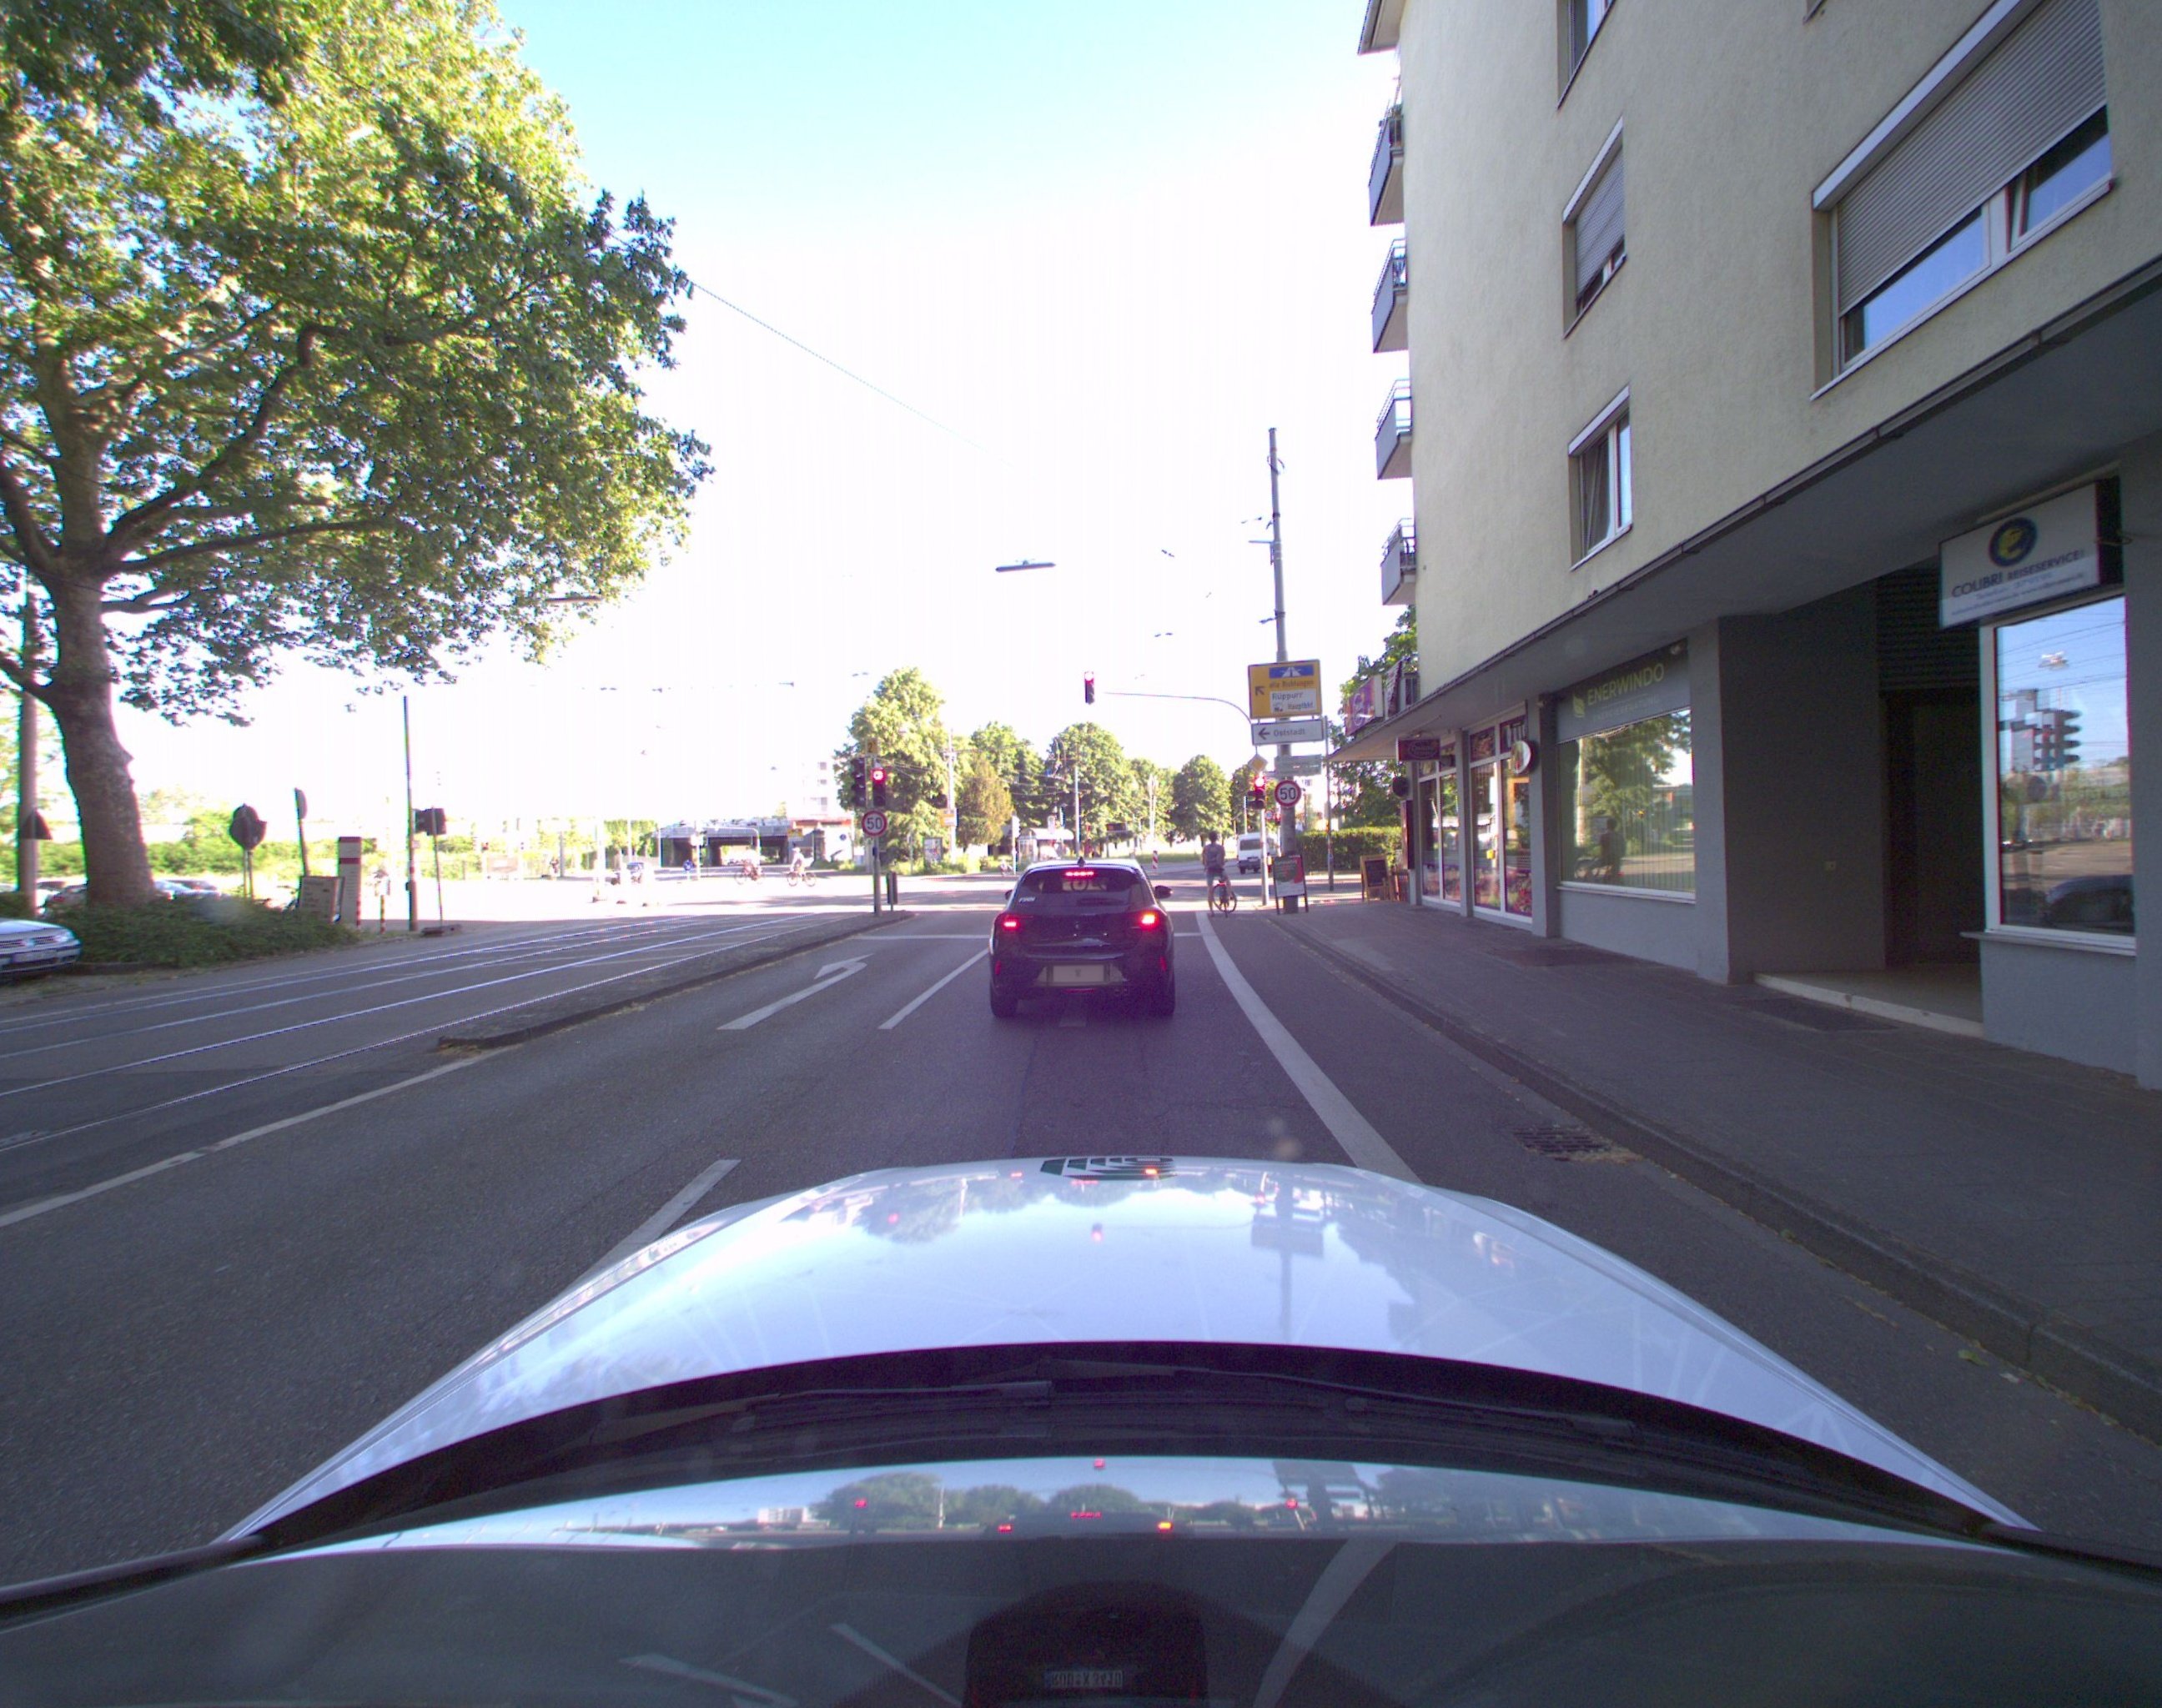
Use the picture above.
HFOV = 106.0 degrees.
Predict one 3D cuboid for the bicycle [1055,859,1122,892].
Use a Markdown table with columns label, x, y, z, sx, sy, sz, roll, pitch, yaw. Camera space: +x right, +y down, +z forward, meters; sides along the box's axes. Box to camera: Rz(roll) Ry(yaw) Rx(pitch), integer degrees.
| label | x | y | z | sx | sy | sz | roll | pitch | yaw |
| --- | --- | --- | --- | --- | --- | --- | --- | --- | --- |
| bicycle | 0.264 | 0.741 | 28.669 | 2.199 | 1.033 | 0.828 | -2 | 0 | -21 |

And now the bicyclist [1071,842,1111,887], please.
| label | x | y | z | sx | sy | sz | roll | pitch | yaw |
| --- | --- | --- | --- | --- | --- | --- | --- | --- | --- |
| bicyclist | 0.359 | 0.376 | 28.698 | 1.117 | 1.520 | 0.915 | -2 | 0 | -21 |

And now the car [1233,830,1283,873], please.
| label | x | y | z | sx | sy | sz | roll | pitch | yaw |
| --- | --- | --- | --- | --- | --- | --- | --- | --- | --- |
| car | 10.151 | -0.158 | 46.386 | 2.046 | 2.248 | 4.912 | -2 | 0 | 20 |

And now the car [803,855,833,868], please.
| label | x | y | z | sx | sy | sz | roll | pitch | yaw |
| --- | --- | --- | --- | --- | --- | --- | --- | --- | --- |
| car | -38.305 | 1.099 | 118.634 | 4.188 | 1.805 | 1.725 | -2 | 0 | -19 |

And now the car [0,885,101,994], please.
| label | x | y | z | sx | sy | sz | roll | pitch | yaw |
| --- | --- | --- | --- | --- | --- | --- | --- | --- | --- |
| car | -16.952 | 1.202 | 11.365 | 4.497 | 1.429 | 1.676 | 0 | 0 | 0 |

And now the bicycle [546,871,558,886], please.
| label | x | y | z | sx | sy | sz | roll | pitch | yaw |
| --- | --- | --- | --- | --- | --- | --- | --- | --- | --- |
| bicycle | -38.414 | 1.751 | 59.167 | 0.585 | 1.060 | 2.022 | -2 | 0 | -30 |

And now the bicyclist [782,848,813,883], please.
| label | x | y | z | sx | sy | sz | roll | pitch | yaw |
| --- | --- | --- | --- | --- | --- | --- | --- | --- | --- |
| bicyclist | -13.138 | 0.533 | 37.751 | 1.003 | 1.570 | 0.802 | -2 | 0 | 13 |

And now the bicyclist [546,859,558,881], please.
| label | x | y | z | sx | sy | sz | roll | pitch | yaw |
| --- | --- | --- | --- | --- | --- | --- | --- | --- | --- |
| bicyclist | -38.429 | 1.188 | 59.192 | 0.639 | 1.563 | 0.825 | -2 | 0 | -31 |

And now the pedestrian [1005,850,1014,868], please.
| label | x | y | z | sx | sy | sz | roll | pitch | yaw |
| --- | --- | --- | --- | --- | --- | --- | --- | --- | --- |
| pedestrian | -6.335 | 0.425 | 72.191 | 0.746 | 1.630 | 0.599 | 0 | -1 | 8 |

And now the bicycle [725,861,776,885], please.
| label | x | y | z | sx | sy | sz | roll | pitch | yaw |
| --- | --- | --- | --- | --- | --- | --- | --- | --- | --- |
| bicycle | -16.624 | 0.949 | 40.944 | 2.276 | 1.084 | 0.804 | -2 | 0 | 14 |

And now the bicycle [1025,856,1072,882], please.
| label | x | y | z | sx | sy | sz | roll | pitch | yaw |
| --- | --- | --- | --- | --- | --- | --- | --- | --- | --- |
| bicycle | -1.488 | 0.677 | 36.948 | 2.036 | 1.094 | 0.596 | -2 | 0 | 23 |

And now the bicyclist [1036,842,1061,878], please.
| label | x | y | z | sx | sy | sz | roll | pitch | yaw |
| --- | --- | --- | --- | --- | --- | --- | --- | --- | --- |
| bicyclist | -1.473 | 0.260 | 36.892 | 0.853 | 1.595 | 0.653 | -2 | 0 | 23 |

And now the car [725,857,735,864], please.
| label | x | y | z | sx | sy | sz | roll | pitch | yaw |
| --- | --- | --- | --- | --- | --- | --- | --- | --- | --- |
| car | -87.213 | 1.610 | 202.556 | 2.223 | 1.823 | 4.114 | -2 | 0 | -24 |

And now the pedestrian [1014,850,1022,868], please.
| label | x | y | z | sx | sy | sz | roll | pitch | yaw |
| --- | --- | --- | --- | --- | --- | --- | --- | --- | --- |
| pedestrian | -5.579 | 0.431 | 72.294 | 0.633 | 1.630 | 0.573 | 0 | -1 | 9 |

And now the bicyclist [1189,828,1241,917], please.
| label | x | y | z | sx | sy | sz | roll | pitch | yaw |
| --- | --- | --- | --- | --- | --- | --- | --- | --- | --- |
| bicyclist | 2.910 | 0.387 | 17.776 | 0.938 | 1.851 | 0.864 | -2 | 0 | 1 |

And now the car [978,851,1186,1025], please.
| label | x | y | z | sx | sy | sz | roll | pitch | yaw |
| --- | --- | --- | --- | --- | --- | --- | --- | --- | --- |
| car | 0.080 | 0.699 | 8.900 | 1.720 | 1.429 | 4.189 | -1 | 0 | 2 |

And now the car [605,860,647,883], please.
| label | x | y | z | sx | sy | sz | roll | pitch | yaw |
| --- | --- | --- | --- | --- | --- | --- | --- | --- | --- |
| car | -31.282 | 1.157 | 56.104 | 1.830 | 1.519 | 3.870 | 0 | 0 | -18 |

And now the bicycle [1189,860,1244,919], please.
| label | x | y | z | sx | sy | sz | roll | pitch | yaw |
| --- | --- | --- | --- | --- | --- | --- | --- | --- | --- |
| bicycle | 2.918 | 0.738 | 17.793 | 0.857 | 1.153 | 2.172 | -2 | 0 | 1 |

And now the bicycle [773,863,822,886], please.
| label | x | y | z | sx | sy | sz | roll | pitch | yaw |
| --- | --- | --- | --- | --- | --- | --- | --- | --- | --- |
| bicycle | -13.146 | 0.952 | 37.756 | 2.044 | 0.984 | 0.675 | -2 | 0 | 12 |

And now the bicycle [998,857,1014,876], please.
| label | x | y | z | sx | sy | sz | roll | pitch | yaw |
| --- | --- | --- | --- | --- | --- | --- | --- | --- | --- |
| bicycle | -4.300 | 0.723 | 46.741 | 0.603 | 1.031 | 1.983 | -2 | 0 | 2 |

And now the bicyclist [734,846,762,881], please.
| label | x | y | z | sx | sy | sz | roll | pitch | yaw |
| --- | --- | --- | --- | --- | --- | --- | --- | --- | --- |
| bicyclist | -16.742 | 0.459 | 40.969 | 0.920 | 1.707 | 0.878 | -2 | 0 | 14 |
